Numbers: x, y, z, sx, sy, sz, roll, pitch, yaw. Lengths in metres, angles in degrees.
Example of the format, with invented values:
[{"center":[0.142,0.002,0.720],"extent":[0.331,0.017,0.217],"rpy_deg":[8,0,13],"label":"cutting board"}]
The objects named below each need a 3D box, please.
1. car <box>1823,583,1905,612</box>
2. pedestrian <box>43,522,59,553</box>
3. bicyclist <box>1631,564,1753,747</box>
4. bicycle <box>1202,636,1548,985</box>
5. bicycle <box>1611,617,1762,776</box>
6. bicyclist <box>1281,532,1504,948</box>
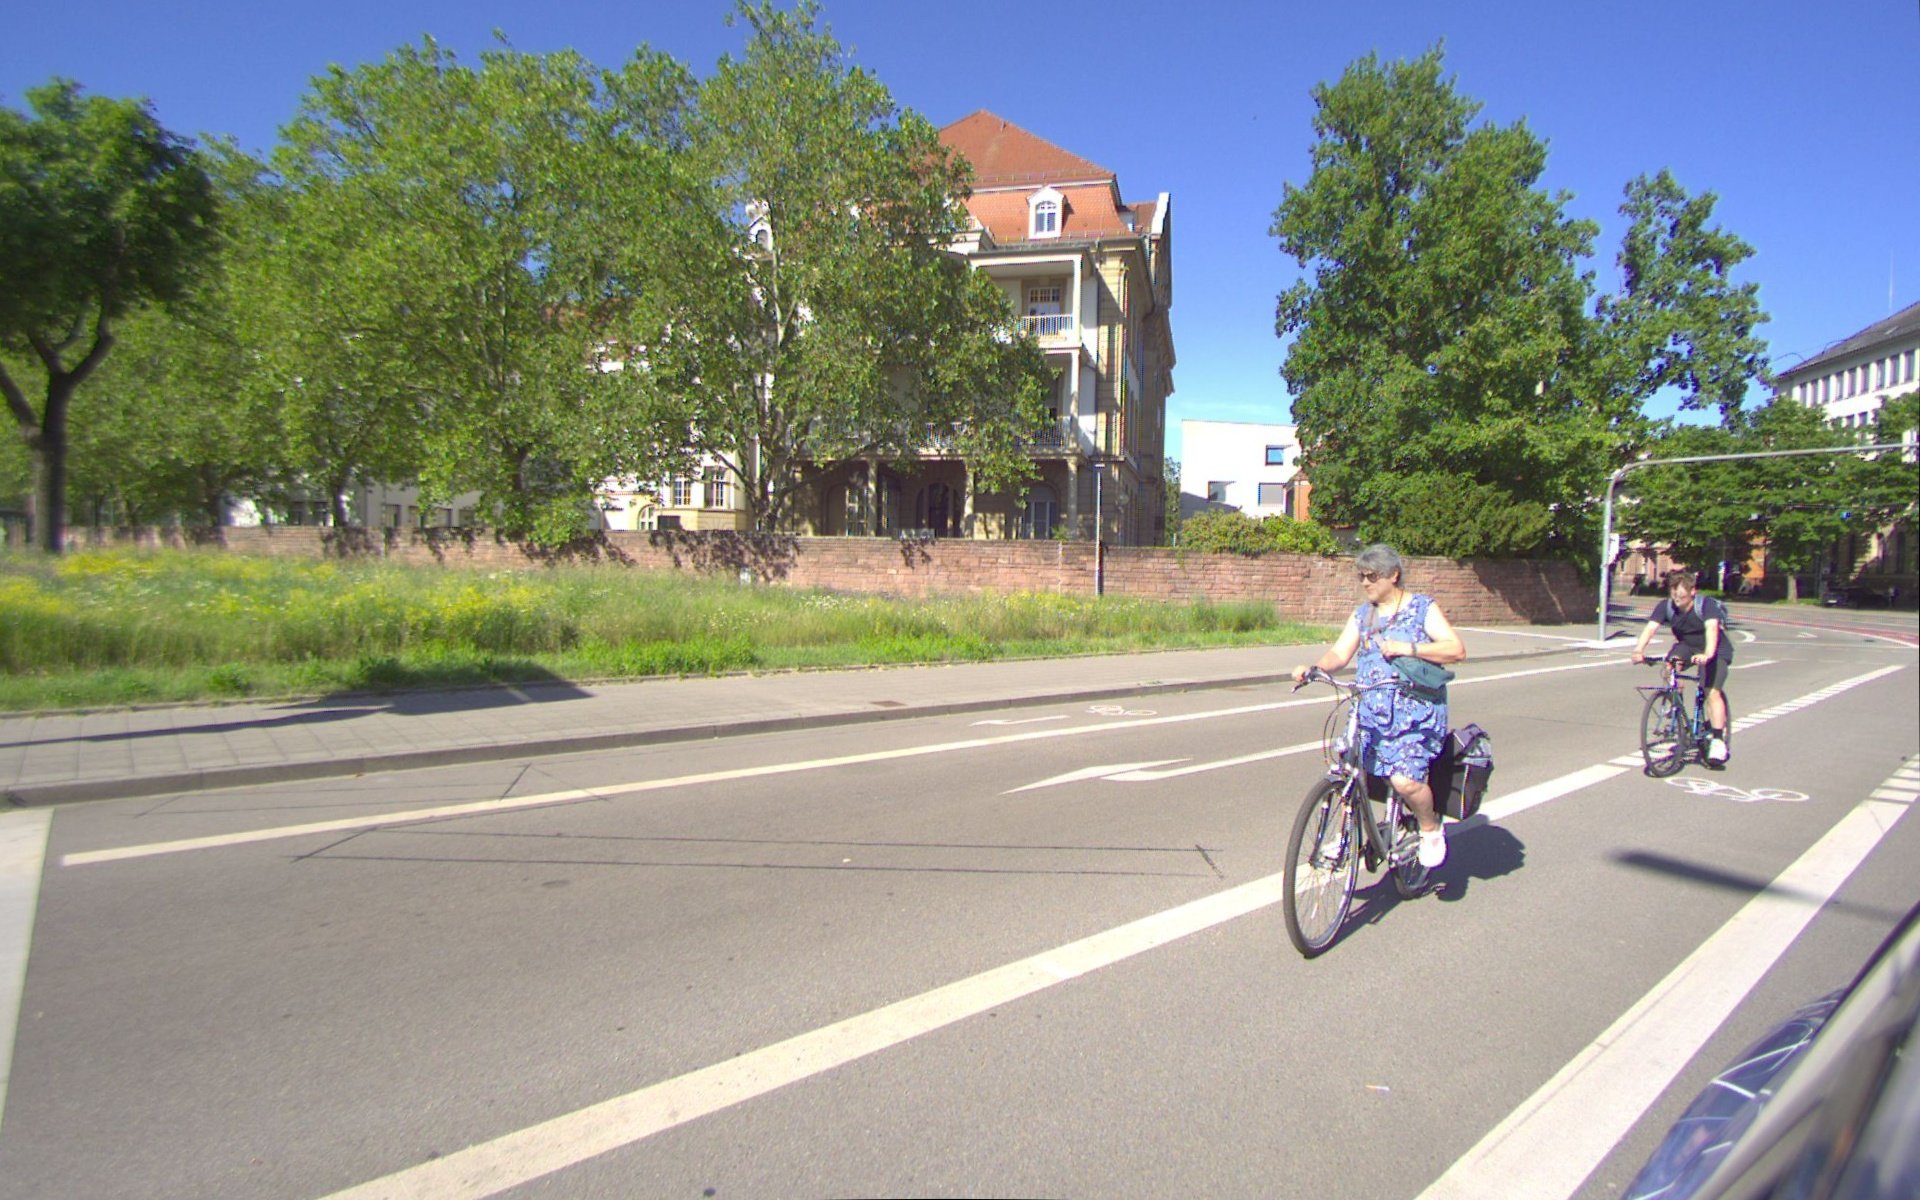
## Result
[{"center":[62.547,-0.173,70.062],"extent":[3.731,1.838,2.000],"rpy_deg":[1,2,2],"label":"car"},{"center":[-49.127,-3.384,54.718],"extent":[0.642,1.631,0.557],"rpy_deg":[0,0,-43],"label":"pedestrian"},{"center":[6.261,0.436,8.652],"extent":[0.936,1.462,0.642],"rpy_deg":[0,1,-41],"label":"bicyclist"},{"center":[1.937,0.798,4.566],"extent":[1.934,1.179,0.642],"rpy_deg":[0,1,-41],"label":"bicycle"},{"center":[6.221,0.757,8.626],"extent":[1.838,1.180,0.642],"rpy_deg":[0,1,-41],"label":"bicycle"},{"center":[1.956,0.551,4.580],"extent":[0.763,1.683,0.642],"rpy_deg":[-1,2,-41],"label":"bicyclist"}]
